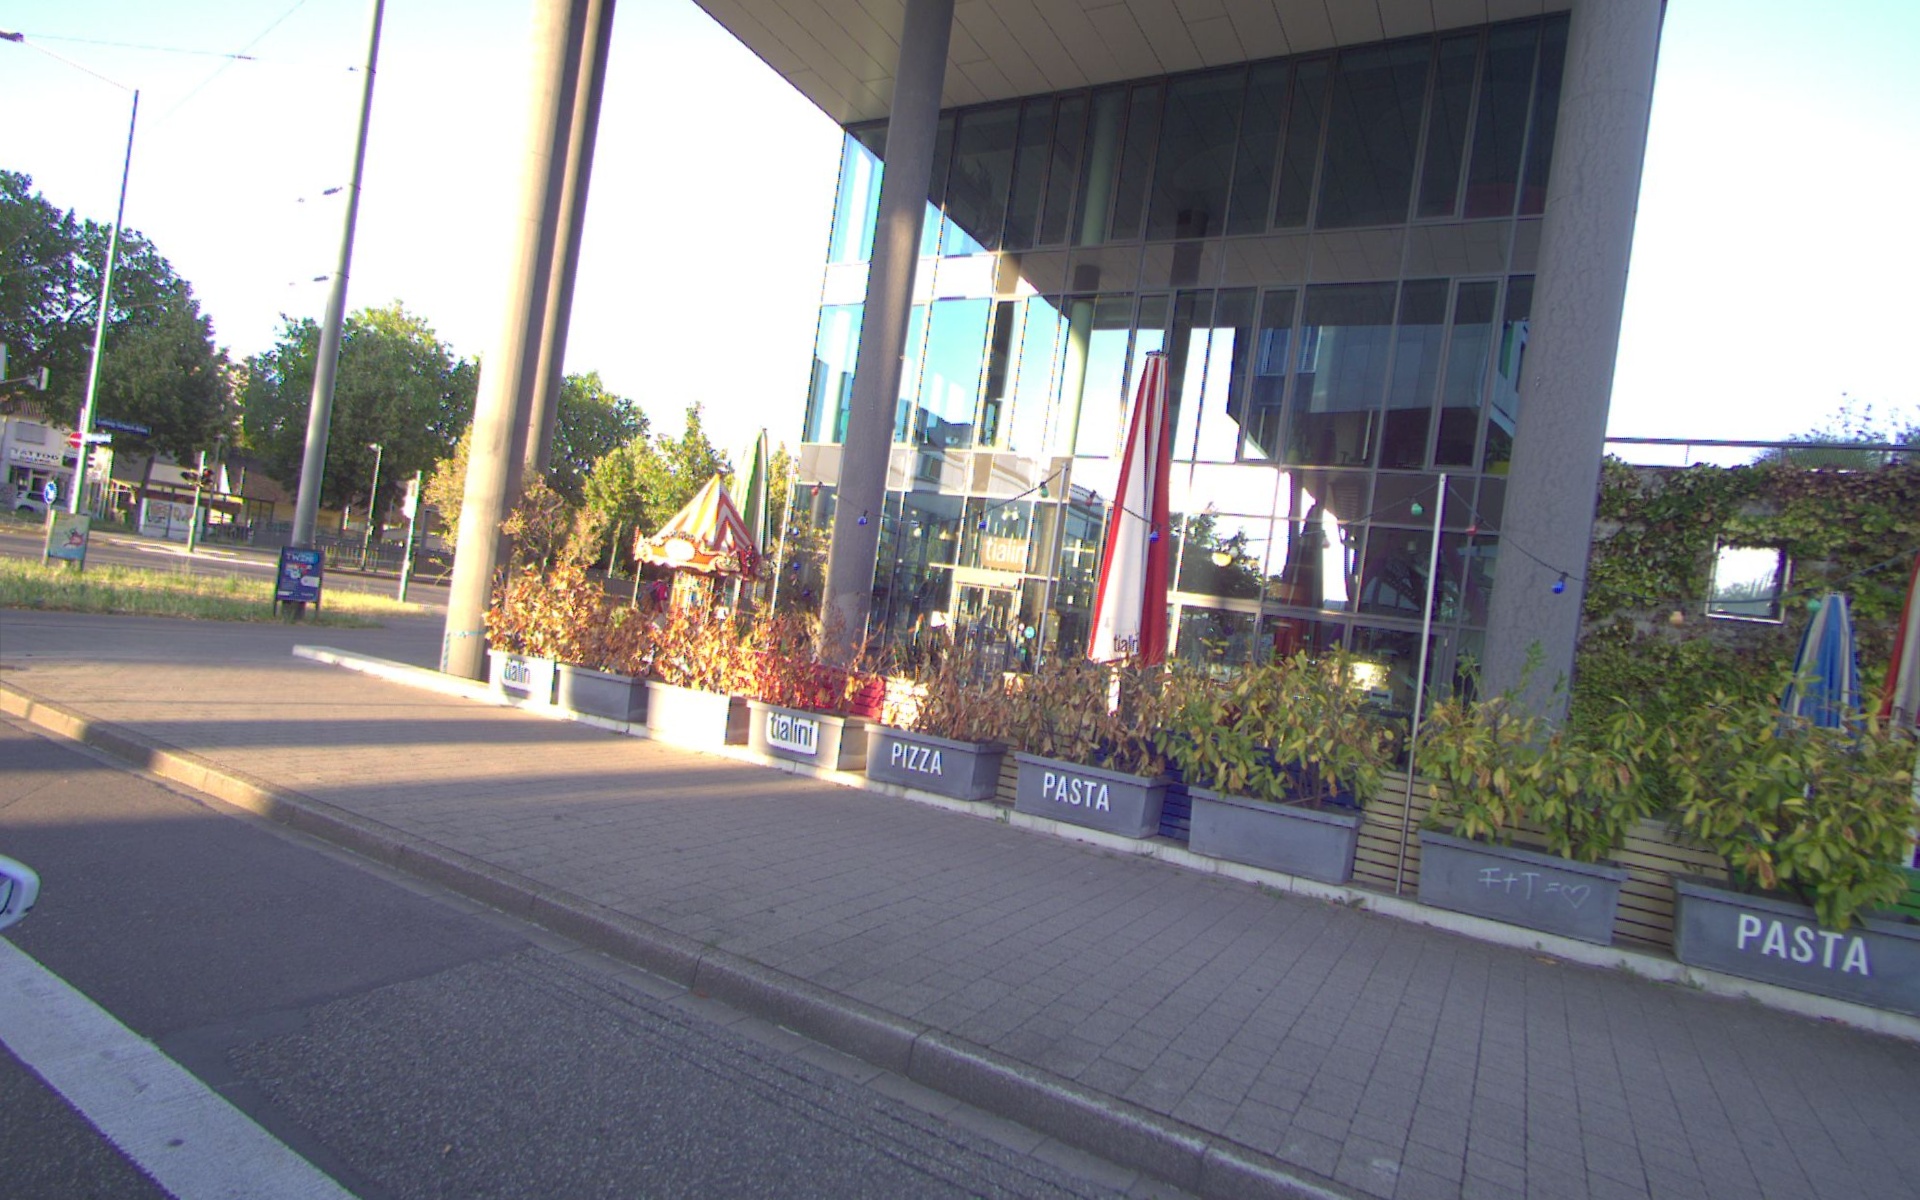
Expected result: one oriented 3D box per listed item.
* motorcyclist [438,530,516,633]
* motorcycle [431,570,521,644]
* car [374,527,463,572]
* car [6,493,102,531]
[{"bbox_3d":[-9.021,-0.331,18.821,0.665,1.767,0.901,8,0,30],"label":"motorcyclist"},{"bbox_3d":[-9.033,0.145,18.828,0.557,1.202,1.314,8,-1,30],"label":"motorcycle"},{"bbox_3d":[-42.871,-3.969,79.742,2.197,2.581,5.594,7,-2,39],"label":"car"},{"bbox_3d":[-50.574,-4.900,56.225,1.641,1.456,3.736,6,-2,41],"label":"car"}]
